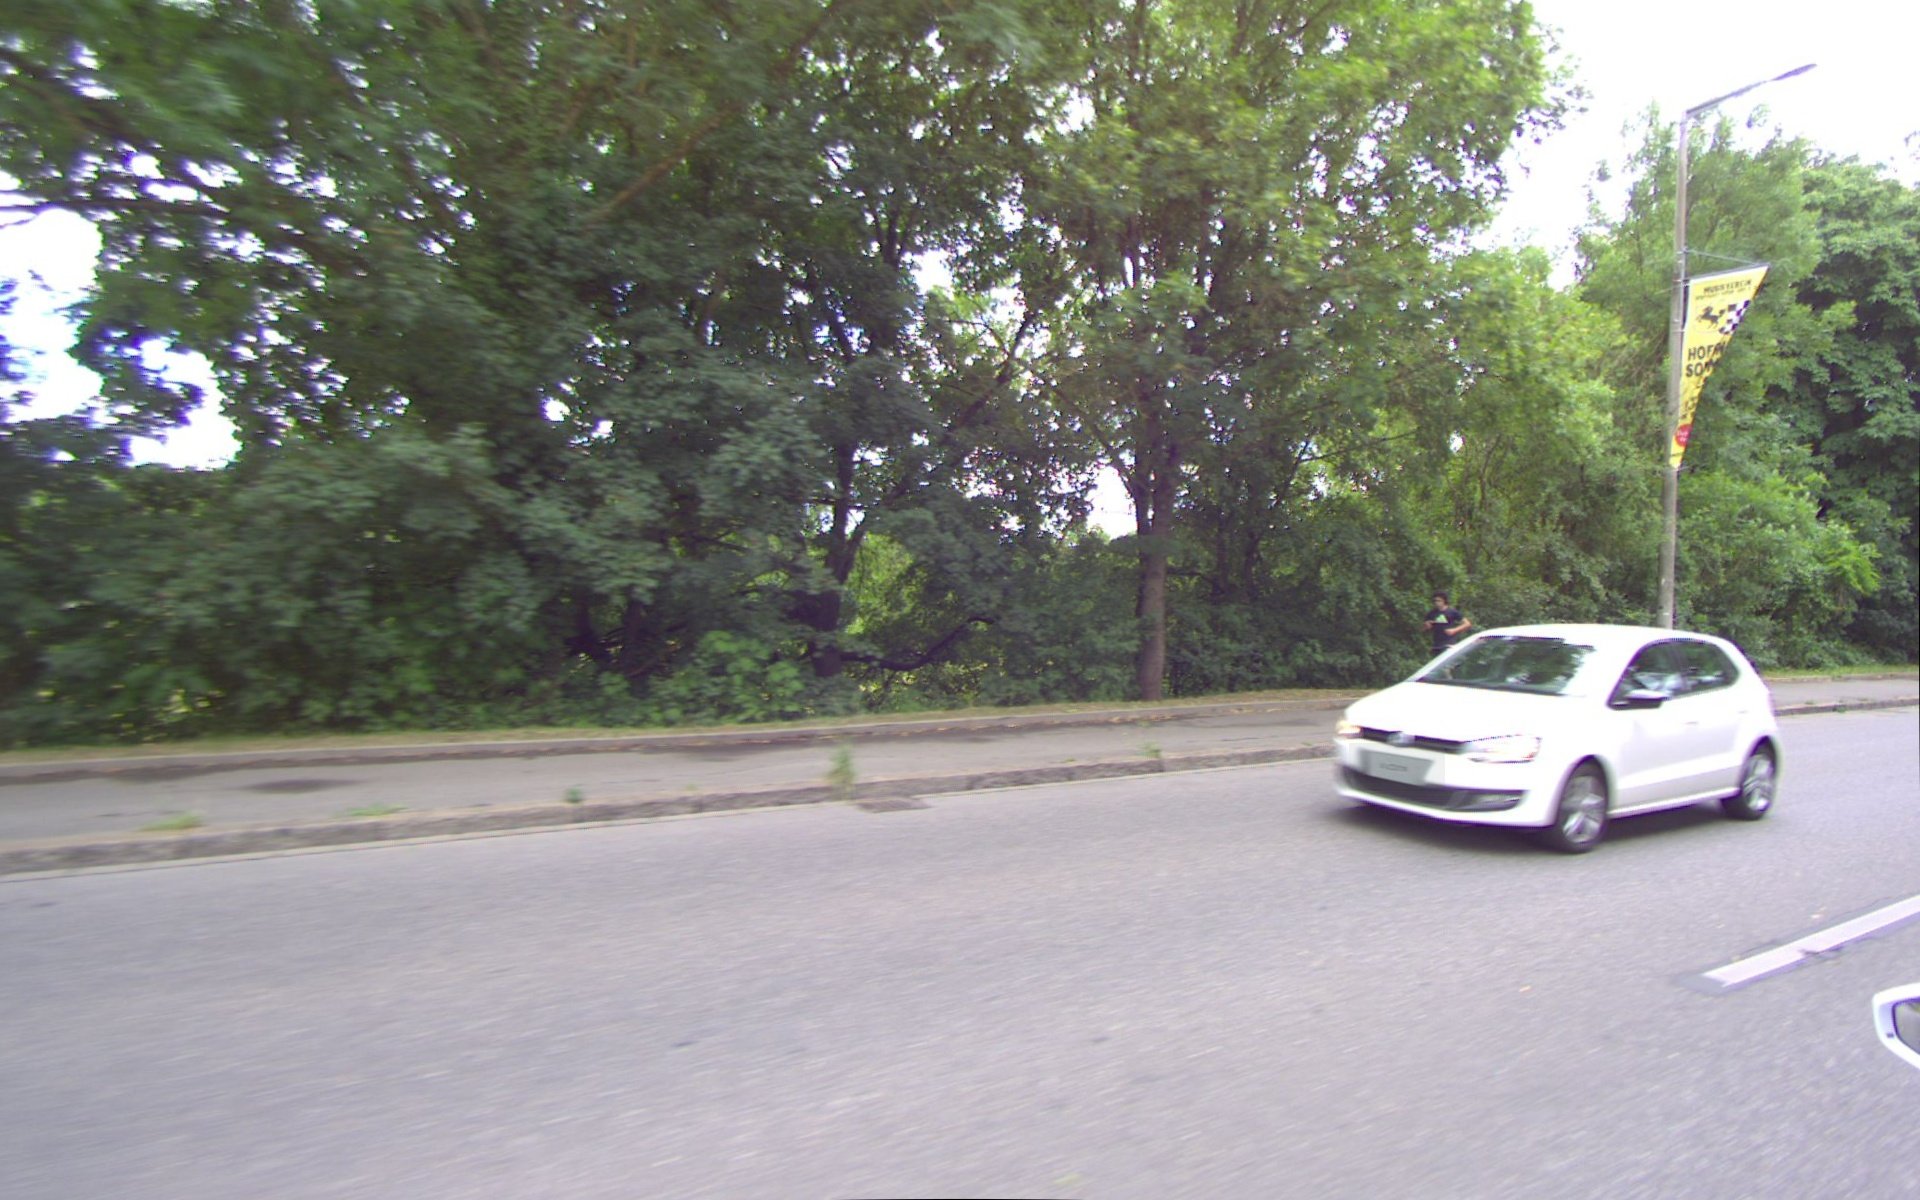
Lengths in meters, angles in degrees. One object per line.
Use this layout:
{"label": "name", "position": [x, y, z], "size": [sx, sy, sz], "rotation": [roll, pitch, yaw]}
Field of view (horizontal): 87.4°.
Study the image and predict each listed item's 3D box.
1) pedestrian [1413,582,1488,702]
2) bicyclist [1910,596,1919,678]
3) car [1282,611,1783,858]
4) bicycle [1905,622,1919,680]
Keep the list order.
{"label": "pedestrian", "position": [7.375, 0.616, 15.116], "size": [0.805, 1.737, 0.596], "rotation": [1, 2, -32]}
{"label": "bicyclist", "position": [23.634, 0.923, 24.342], "size": [0.828, 1.974, 0.681], "rotation": [1, 2, -37]}
{"label": "car", "position": [4.537, 0.874, 7.816], "size": [3.956, 1.447, 1.715], "rotation": [2, 0, -32]}
{"label": "bicycle", "position": [23.774, 1.237, 24.467], "size": [2.260, 1.349, 0.693], "rotation": [1, 2, -38]}
